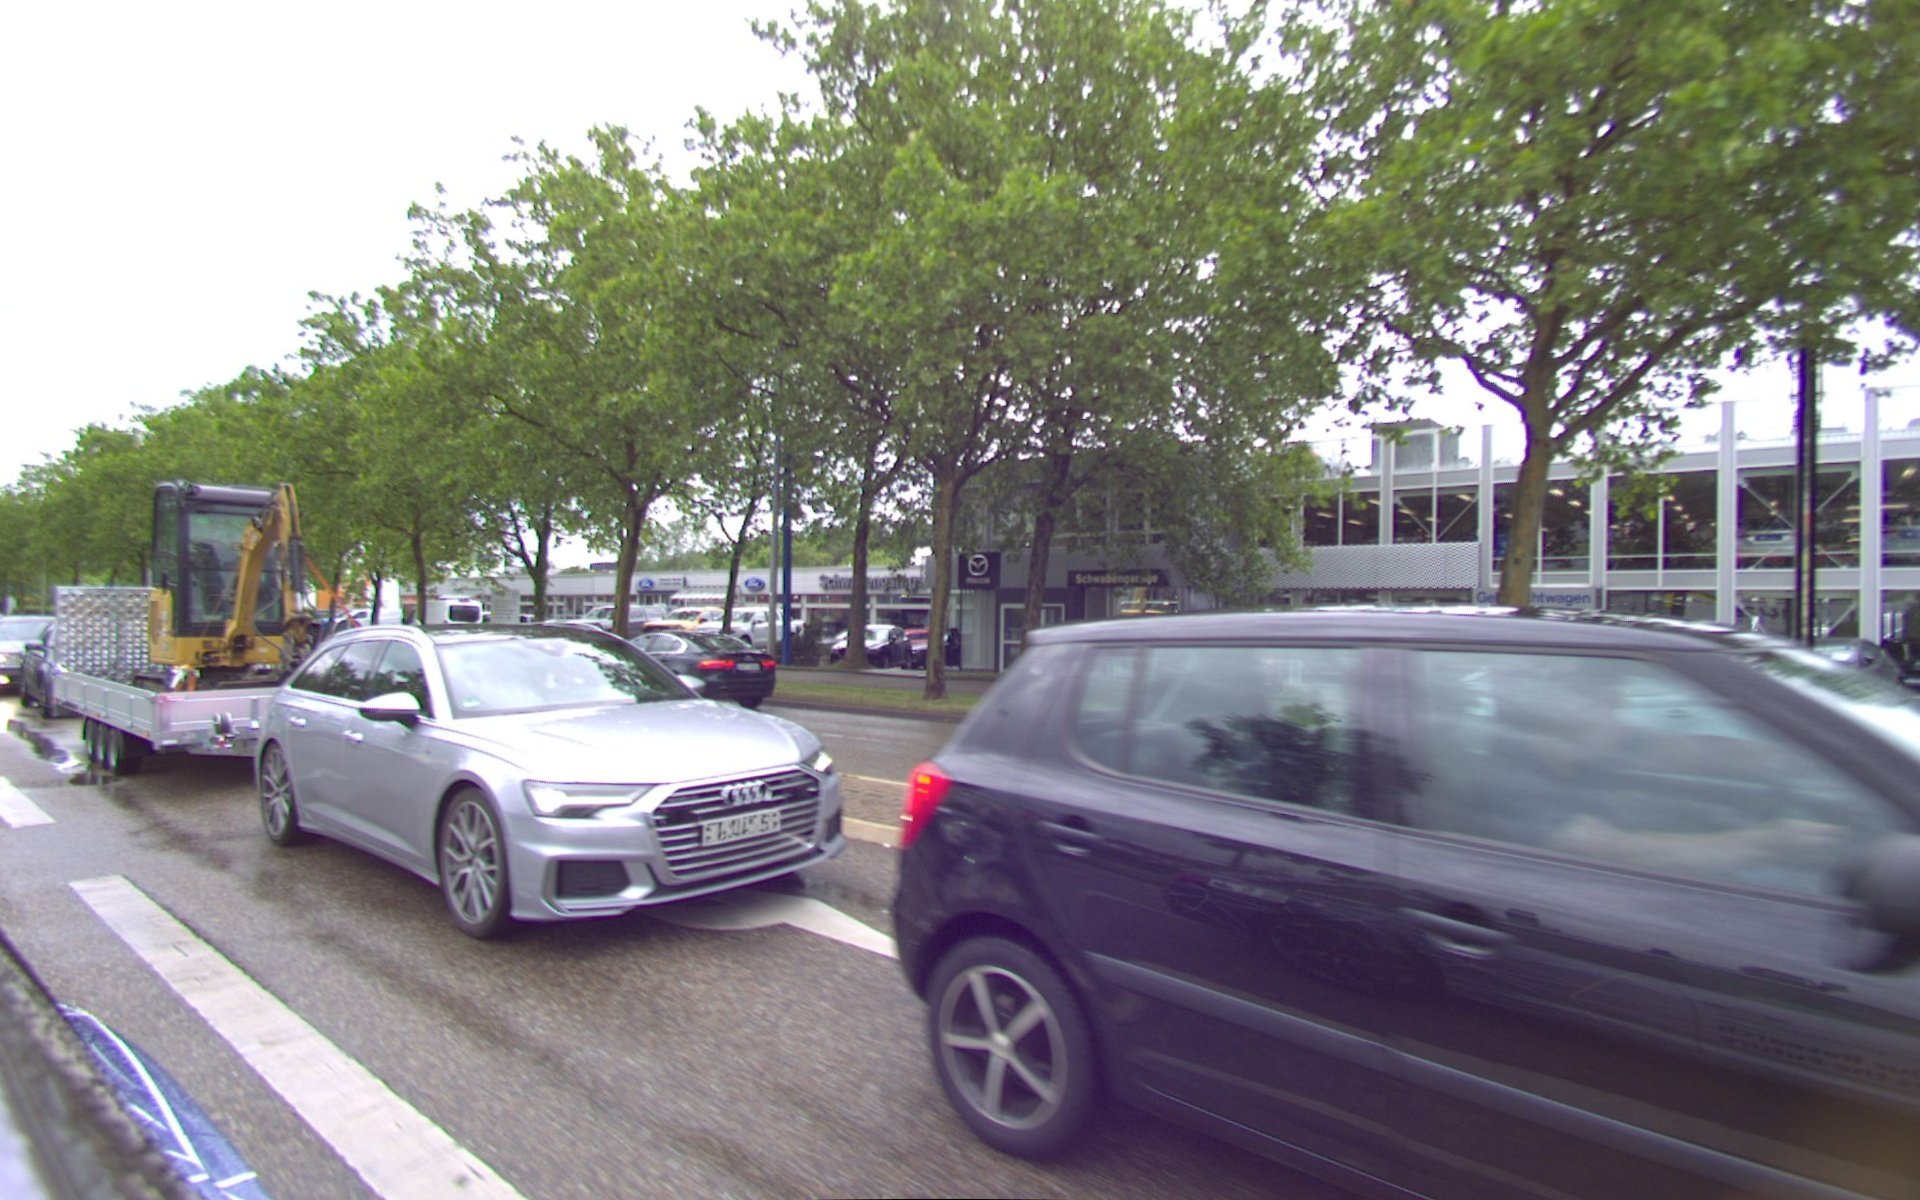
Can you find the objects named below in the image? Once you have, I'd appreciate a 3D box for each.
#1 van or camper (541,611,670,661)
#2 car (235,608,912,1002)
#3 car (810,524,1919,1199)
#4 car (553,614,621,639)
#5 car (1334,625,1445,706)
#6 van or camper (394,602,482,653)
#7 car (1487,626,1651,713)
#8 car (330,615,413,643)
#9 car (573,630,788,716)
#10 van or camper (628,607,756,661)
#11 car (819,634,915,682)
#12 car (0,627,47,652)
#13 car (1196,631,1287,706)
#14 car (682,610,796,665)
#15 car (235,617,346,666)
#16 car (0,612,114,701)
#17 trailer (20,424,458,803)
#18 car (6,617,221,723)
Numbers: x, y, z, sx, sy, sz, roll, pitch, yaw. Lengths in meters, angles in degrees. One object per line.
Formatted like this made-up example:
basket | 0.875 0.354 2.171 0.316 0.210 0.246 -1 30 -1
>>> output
van or camper | -13.962 1.401 40.283 2.246 1.835 5.272 0 -2 16
car | -2.607 0.814 6.035 4.778 1.469 1.747 -1 -2 41
car | 1.625 0.669 2.453 4.075 1.501 1.695 -1 -3 41
car | -28.809 2.033 78.416 2.367 1.852 5.326 0 -1 14
car | 9.927 1.493 23.697 1.996 1.666 4.207 1 -2 18
van or camper | -27.419 1.402 53.010 6.399 2.489 1.972 -1 -1 42
car | 12.611 1.409 21.264 1.983 1.608 4.207 0 -3 18
car | -44.948 2.217 77.371 2.128 2.029 4.994 -1 -2 39
car | -5.214 1.293 18.647 4.170 1.393 1.693 -1 -4 39
van or camper | -10.057 1.269 38.522 2.088 1.783 5.342 3 -1 18
car | -3.048 1.920 34.288 1.980 1.461 4.450 0 -2 13
car | -58.782 2.479 63.461 4.535 1.440 1.718 -1 -3 41
car | 7.198 1.634 25.595 1.984 1.608 4.541 0 -1 19
car | -7.799 1.323 36.119 1.984 1.829 4.440 0 -2 18
car | -21.734 1.300 32.811 4.077 1.476 1.694 0 -1 36
car | -18.572 1.057 20.167 4.879 1.590 1.887 -1 -2 42
trailer | -7.662 0.157 10.496 5.541 2.919 2.348 -1 -2 40
car | -13.476 1.054 16.008 4.553 1.440 1.972 -2 -4 42
